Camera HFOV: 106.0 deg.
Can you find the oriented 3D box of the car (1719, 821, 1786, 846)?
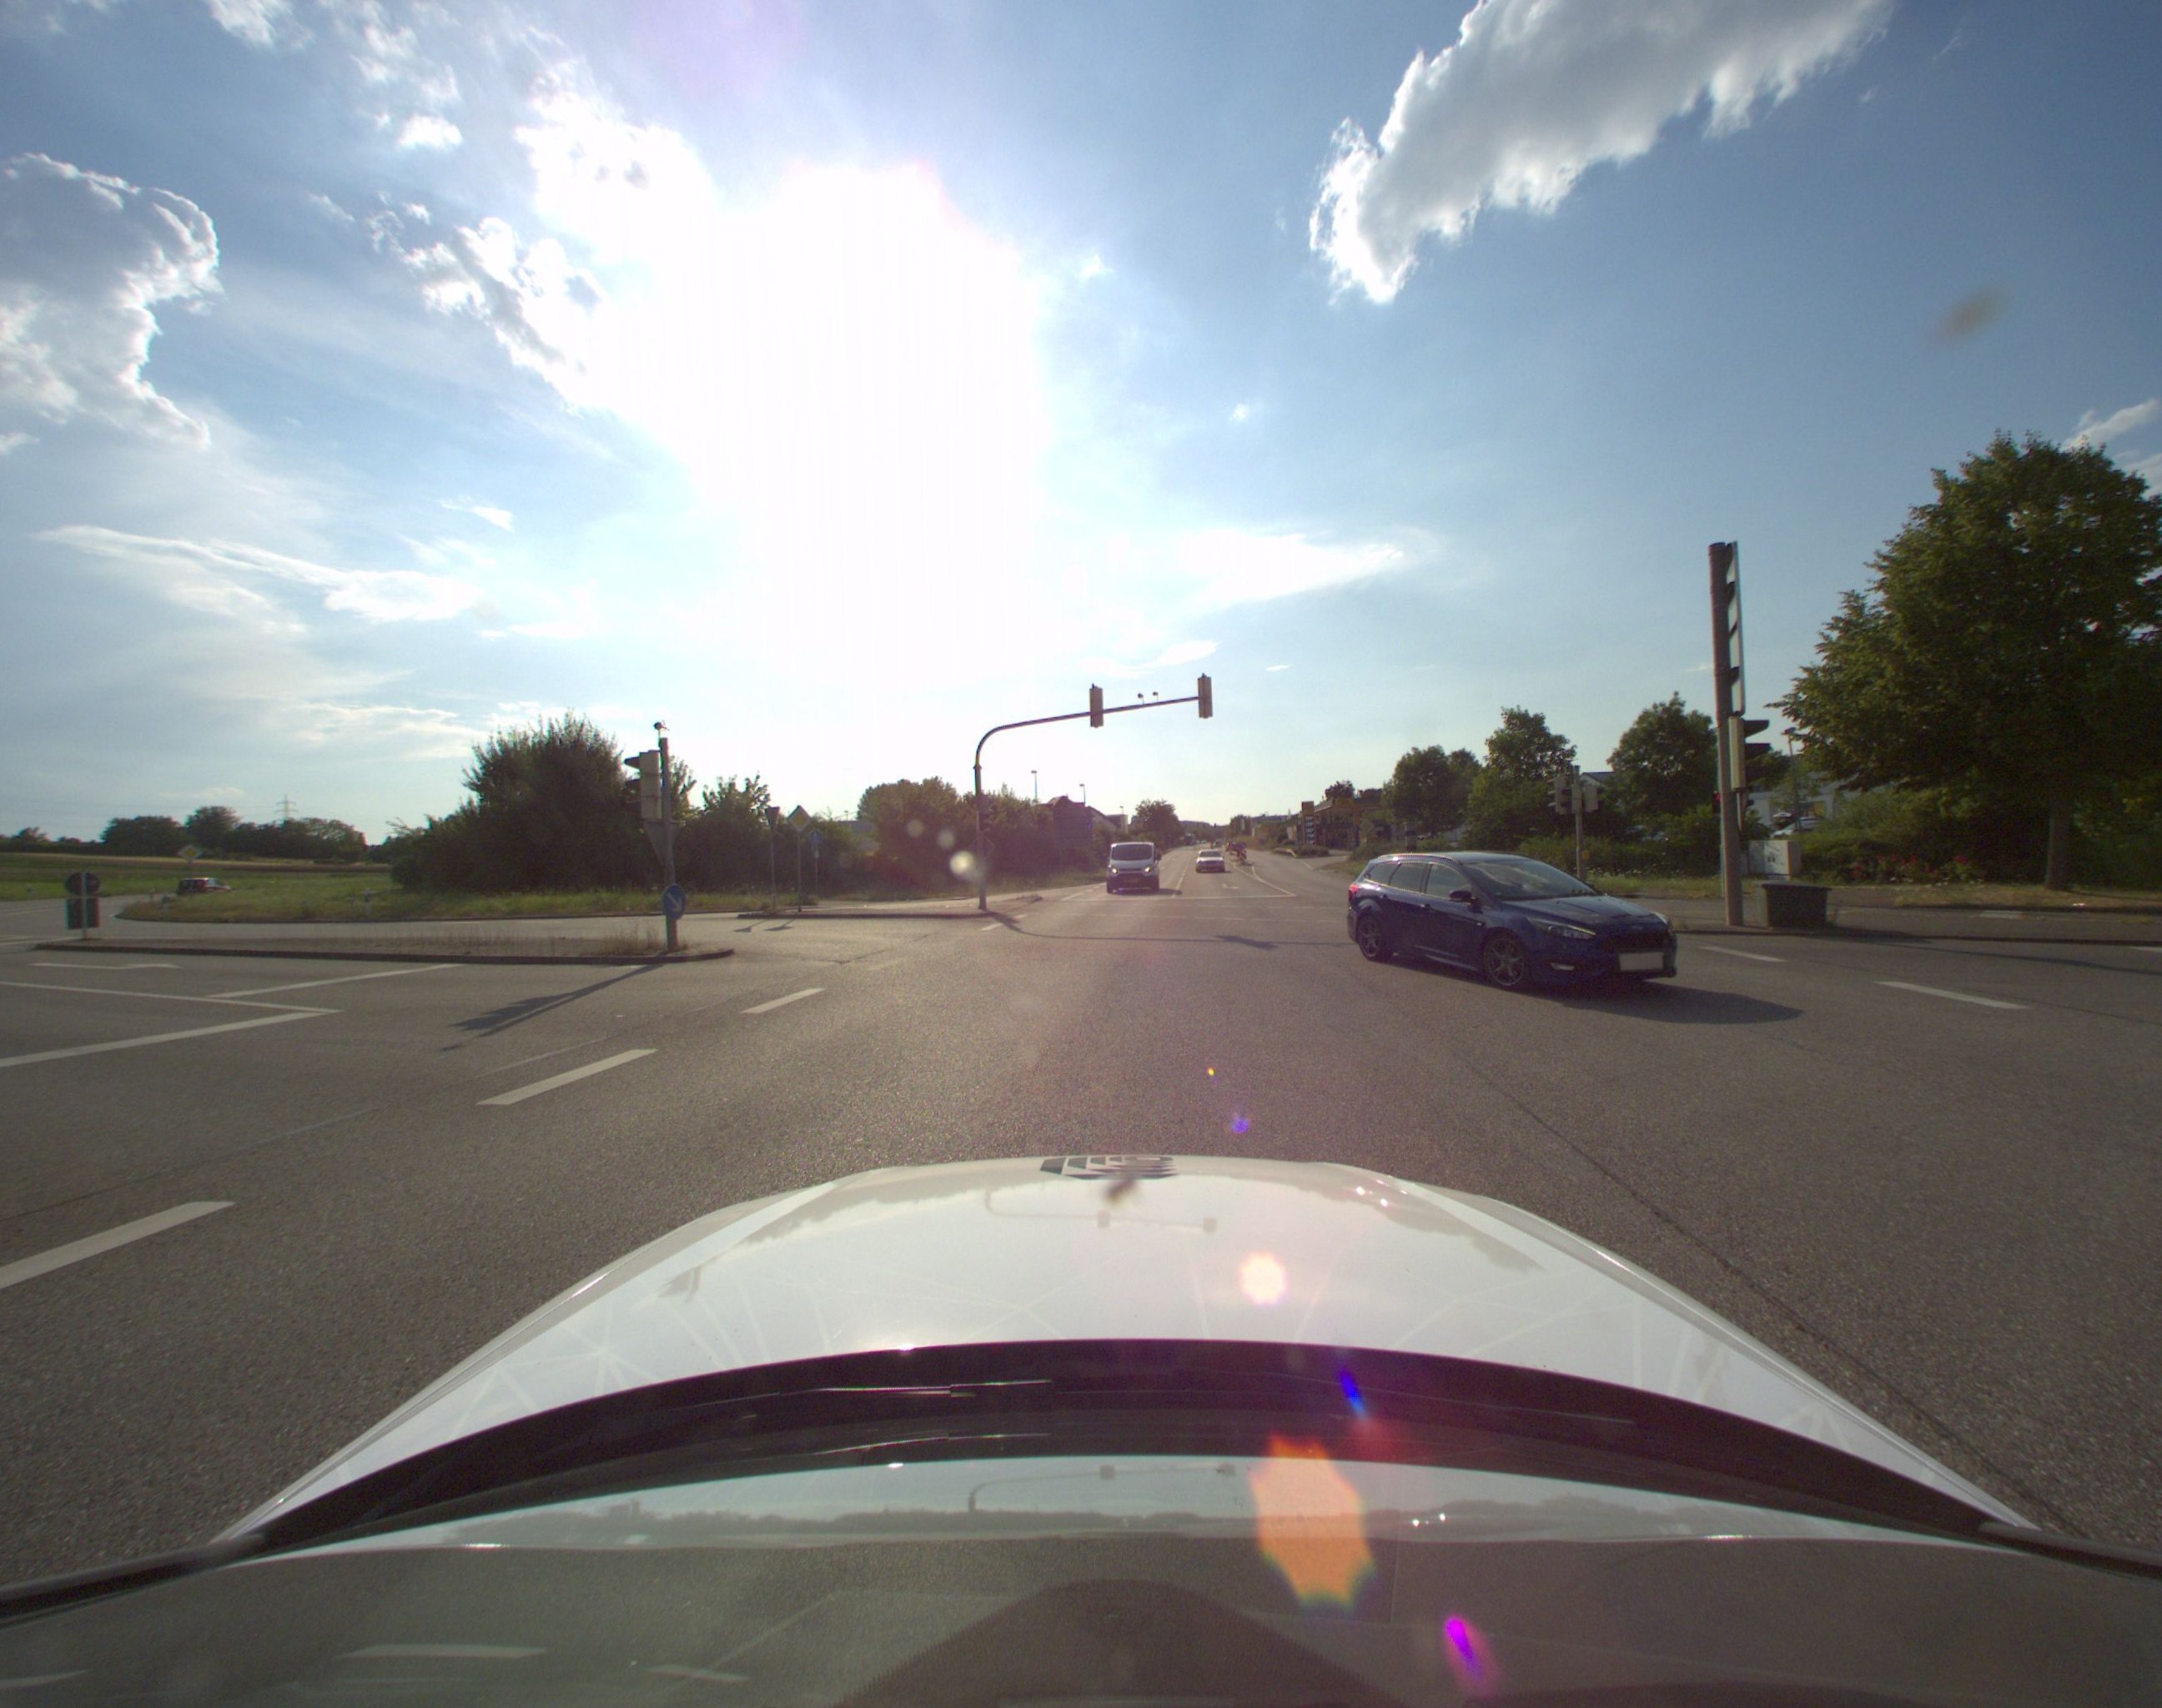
[{"bbox_3d":[56.501,-1.683,68.565,4.663,2.014,1.991,0,-1,-14],"label":"car"}]

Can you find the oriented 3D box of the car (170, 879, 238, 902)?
[{"bbox_3d":[-60.519,2.495,56.275,1.729,1.500,3.828,0,-1,-22],"label":"car"}]

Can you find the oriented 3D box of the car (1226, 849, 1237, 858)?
[{"bbox_3d":[25.311,-0.054,137.012,1.542,1.449,3.056,-1,-1,7],"label":"car"}]

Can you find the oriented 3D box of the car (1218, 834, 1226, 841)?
[{"bbox_3d":[41.431,-4.798,239.248,1.985,2.014,4.004,-1,-1,4],"label":"car"}]

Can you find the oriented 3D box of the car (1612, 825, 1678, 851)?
[{"bbox_3d":[45.381,-1.281,65.560,4.656,2.014,1.955,0,-1,-19],"label":"car"}]

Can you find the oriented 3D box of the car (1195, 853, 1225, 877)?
[{"bbox_3d":[8.557,0.703,54.439,1.847,1.513,4.963,-1,-1,8],"label":"car"}]

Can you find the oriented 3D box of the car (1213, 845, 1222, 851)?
[{"bbox_3d":[31.970,-1.502,191.119,1.733,1.352,3.207,-1,-1,4],"label":"car"}]

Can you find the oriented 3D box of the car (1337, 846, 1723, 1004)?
[{"bbox_3d":[5.087,0.701,10.042,1.790,1.497,4.283,0,-1,-12],"label":"car"}]

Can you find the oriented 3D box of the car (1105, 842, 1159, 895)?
[{"bbox_3d":[2.141,0.523,32.956,1.890,1.947,4.828,0,1,7],"label":"car"}]
